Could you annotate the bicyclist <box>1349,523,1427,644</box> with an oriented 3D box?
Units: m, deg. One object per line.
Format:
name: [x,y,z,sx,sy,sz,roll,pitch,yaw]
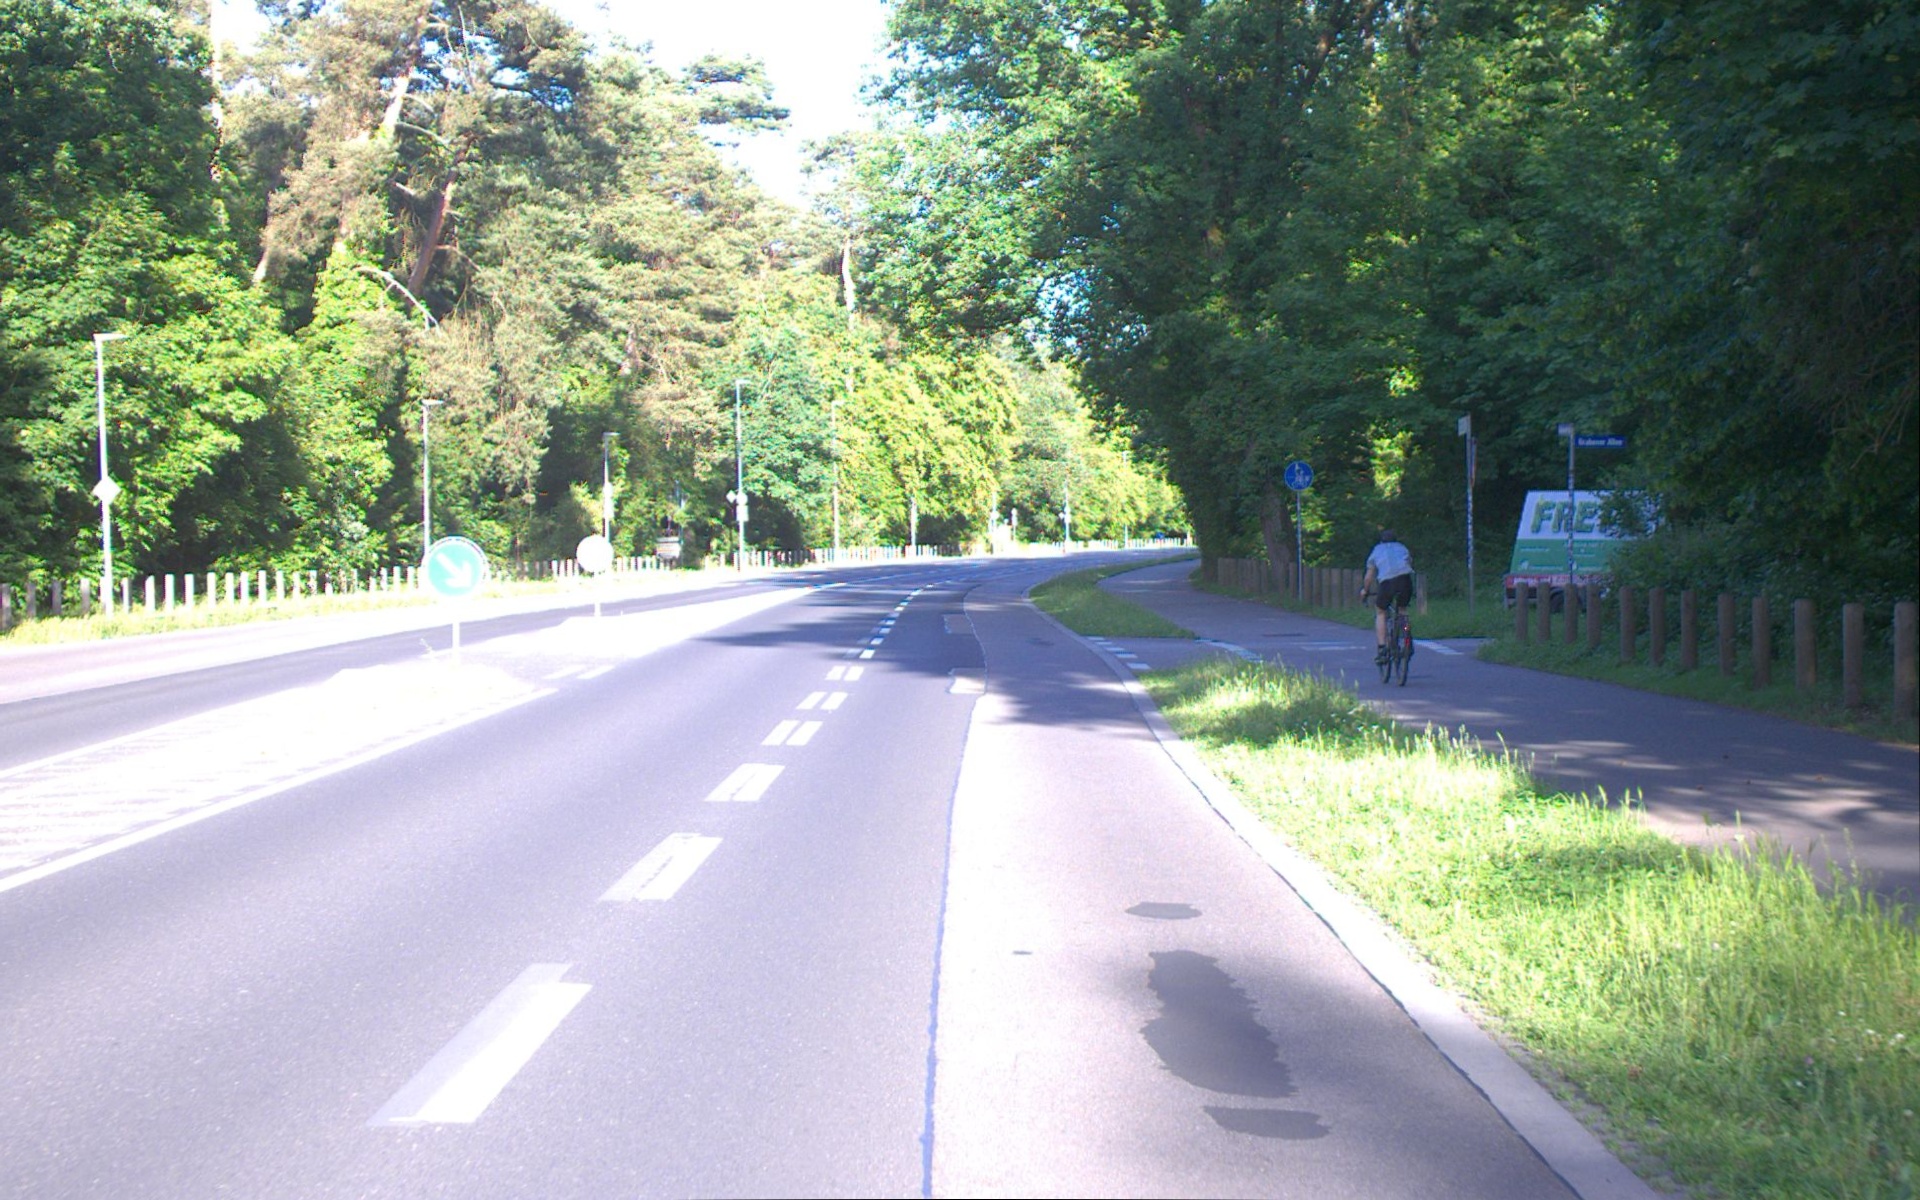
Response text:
bicyclist: [4.594,-0.185,36.940,0.712,1.284,1.104,0,1,0]

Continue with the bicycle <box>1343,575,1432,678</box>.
bicycle: [4.593,0.271,37.018,0.712,1.052,2.053,0,1,0]

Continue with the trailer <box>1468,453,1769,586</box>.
trailer: [10.384,-1.245,54.353,4.223,2.014,1.995,0,1,41]
